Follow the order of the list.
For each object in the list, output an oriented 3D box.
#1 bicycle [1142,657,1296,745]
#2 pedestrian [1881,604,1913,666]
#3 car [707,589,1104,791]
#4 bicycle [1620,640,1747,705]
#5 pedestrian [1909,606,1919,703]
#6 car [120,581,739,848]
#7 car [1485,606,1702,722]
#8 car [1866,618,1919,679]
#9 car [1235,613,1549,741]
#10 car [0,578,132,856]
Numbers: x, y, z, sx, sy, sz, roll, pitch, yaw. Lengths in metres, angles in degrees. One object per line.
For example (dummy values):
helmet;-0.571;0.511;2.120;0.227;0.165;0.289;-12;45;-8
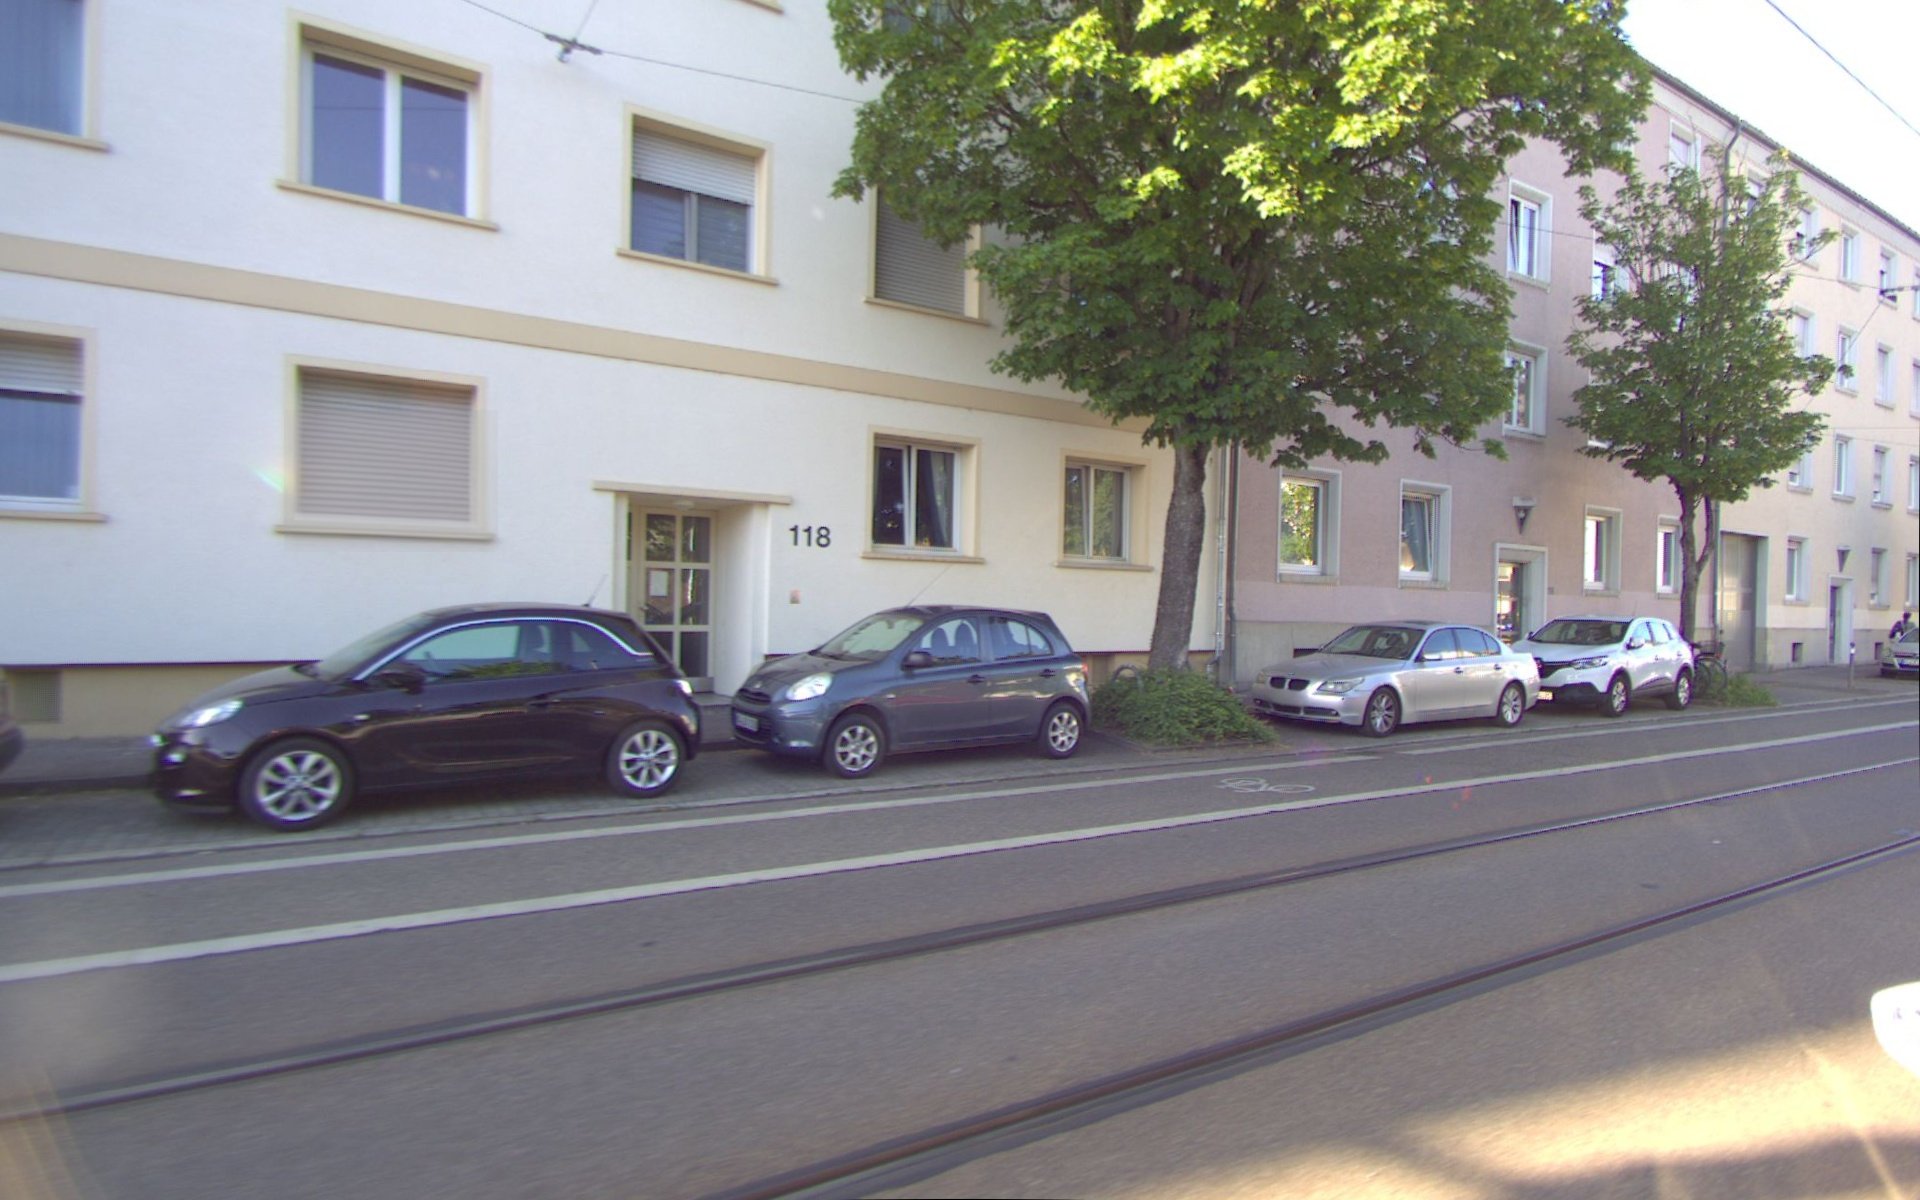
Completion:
bicycle;3.191;1.220;12.591;0.472;0.836;2.115;1;1;-32
pedestrian;28.872;1.074;30.952;0.536;1.850;0.533;1;1;-32
car;-0.461;0.774;10.059;3.696;1.635;1.579;1;1;-37
bicycle;13.754;1.346;19.166;0.471;1.060;1.915;1;1;-30
pedestrian;18.358;1.020;18.769;0.839;1.800;0.732;0;0;39
car;-3.855;0.698;7.739;3.819;1.550;1.775;1;1;-35
car;10.863;1.006;17.120;4.255;1.690;1.640;1;1;-36
car;26.537;1.313;27.272;4.145;1.528;1.798;1;1;-32
car;6.185;1.002;14.213;4.606;1.495;1.680;1;1;-31
car;-7.319;0.611;5.537;3.950;1.550;1.681;1;0;-29
